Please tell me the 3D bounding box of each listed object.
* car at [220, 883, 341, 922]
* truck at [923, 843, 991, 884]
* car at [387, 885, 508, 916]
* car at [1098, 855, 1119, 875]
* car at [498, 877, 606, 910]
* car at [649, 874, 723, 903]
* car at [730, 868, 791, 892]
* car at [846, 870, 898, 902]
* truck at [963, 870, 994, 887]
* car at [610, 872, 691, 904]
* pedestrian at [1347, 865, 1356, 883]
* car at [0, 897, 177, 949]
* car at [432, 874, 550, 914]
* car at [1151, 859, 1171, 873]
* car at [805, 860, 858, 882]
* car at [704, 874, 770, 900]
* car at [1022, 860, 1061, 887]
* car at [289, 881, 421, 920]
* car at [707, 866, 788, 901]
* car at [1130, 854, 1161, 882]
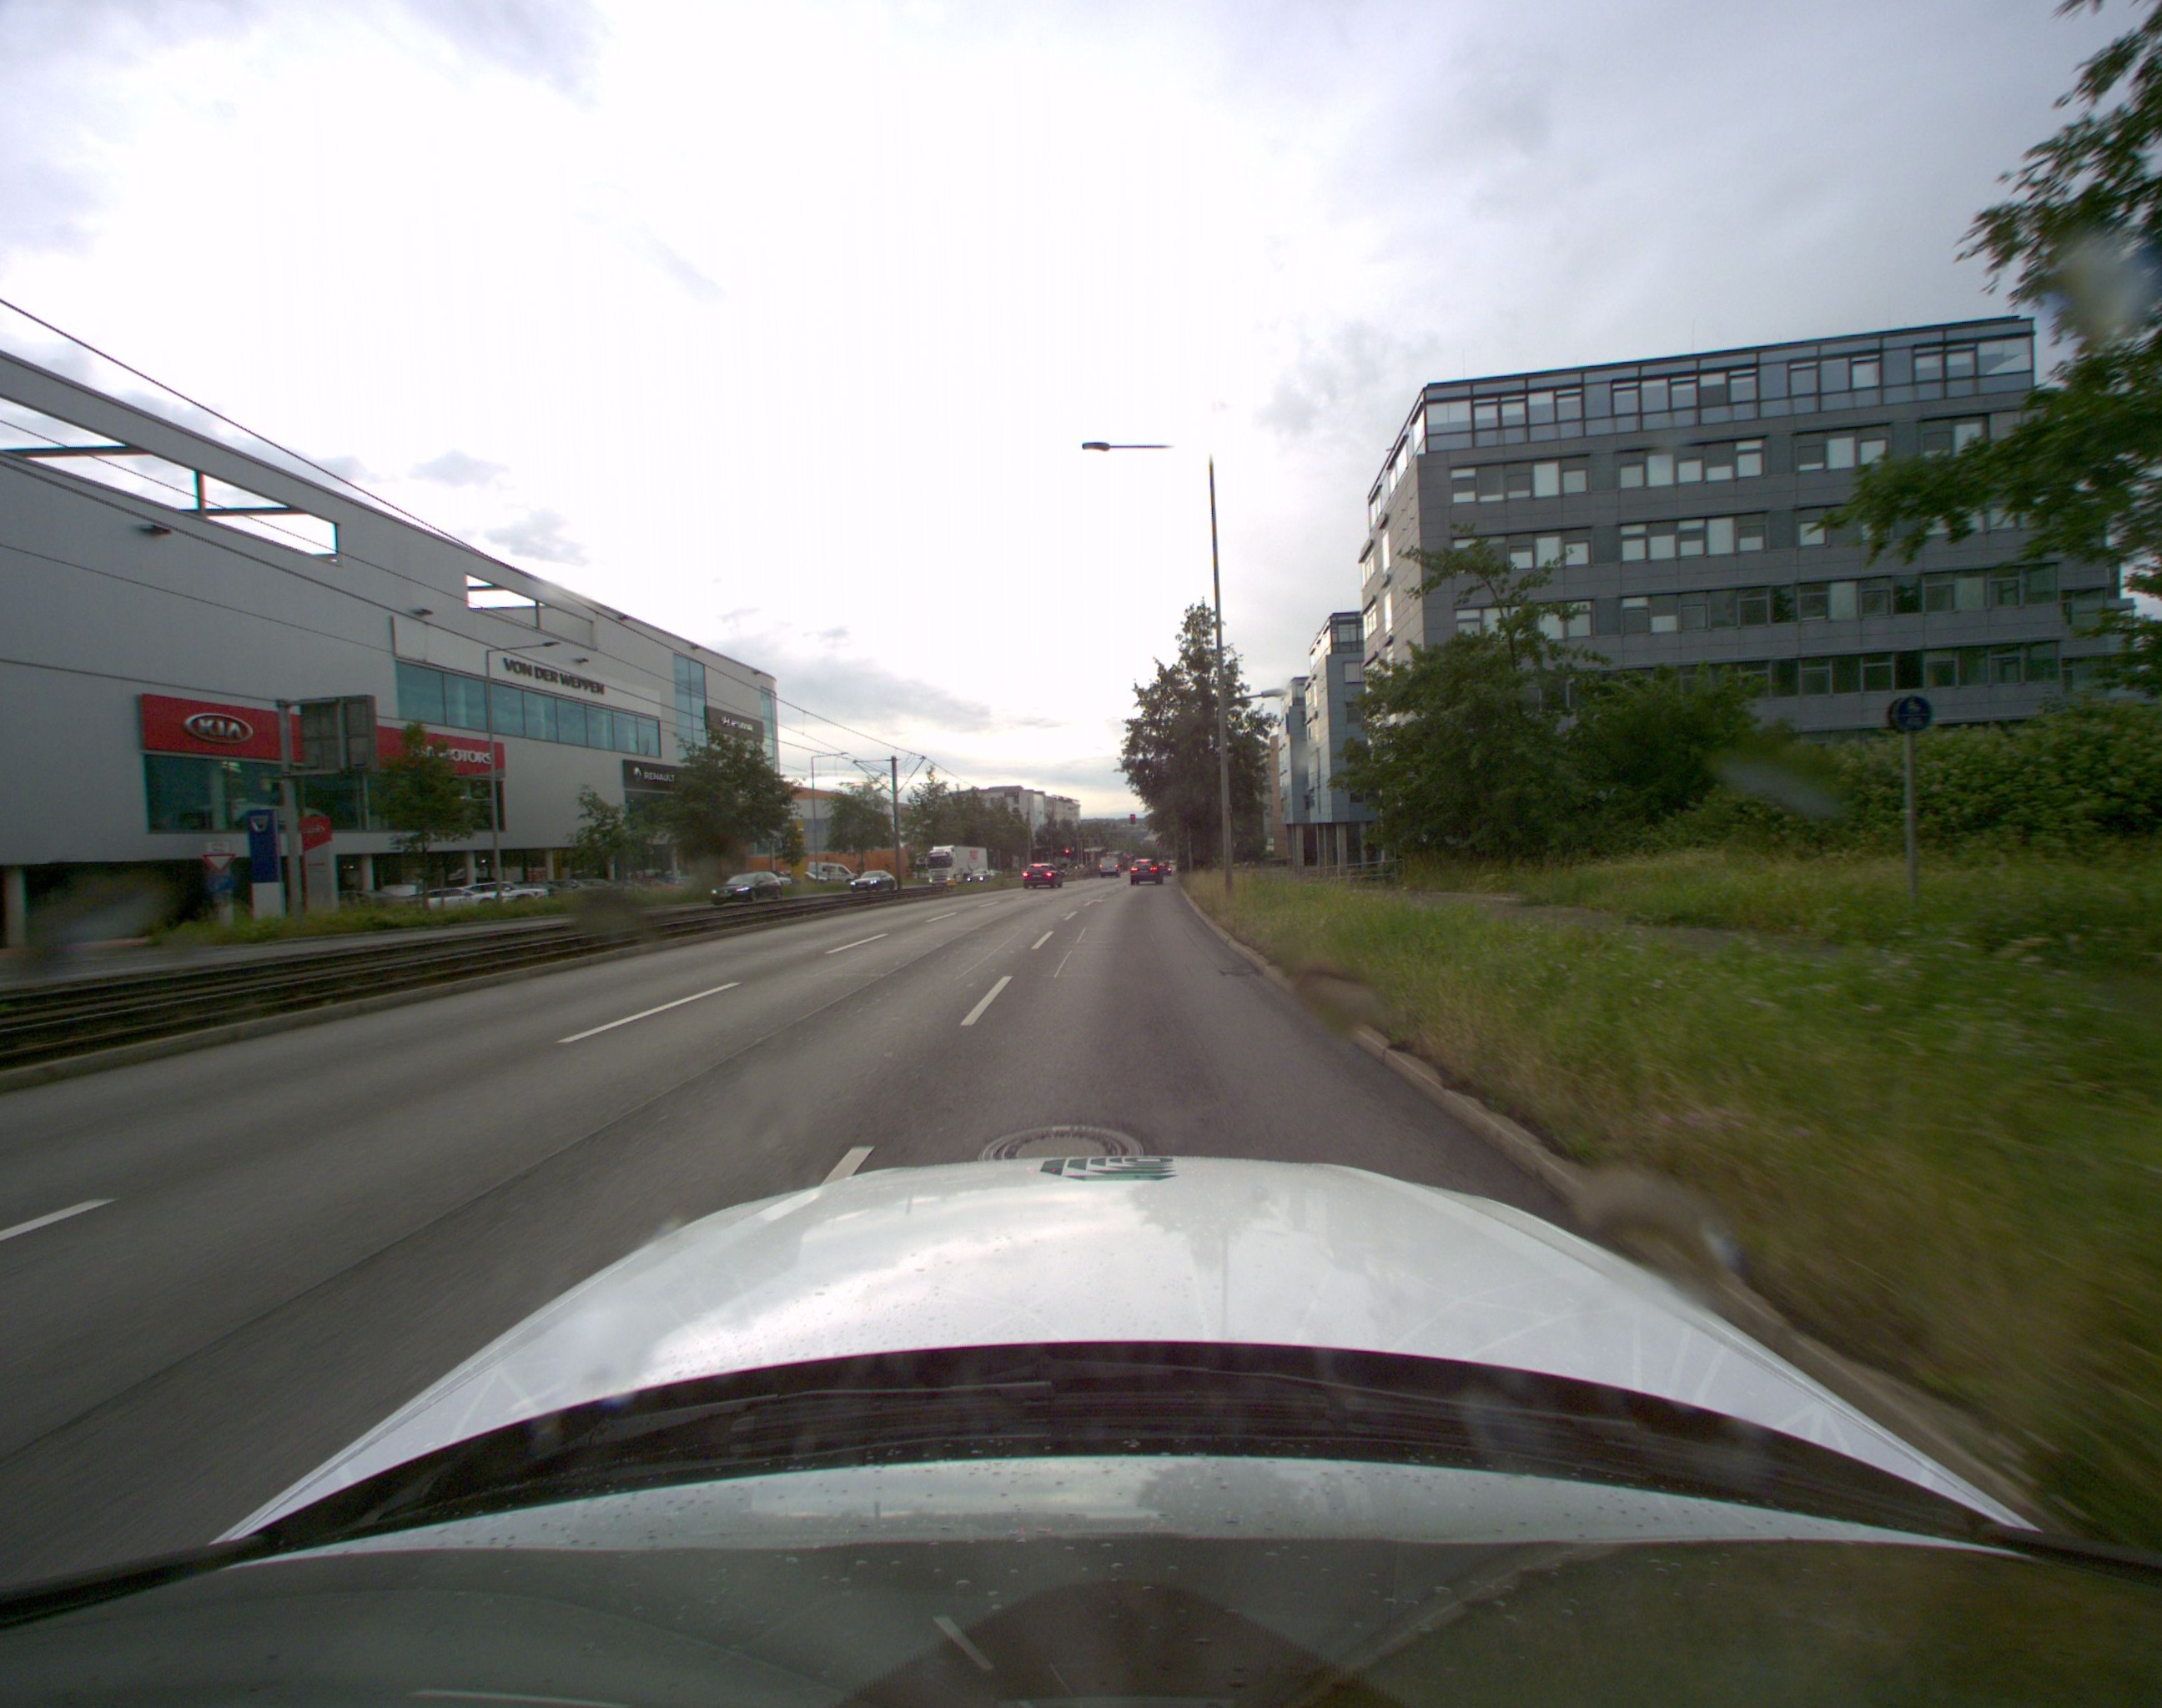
[{"bbox_3d":[-44.736,2.675,45.709,1.987,1.910,4.844,-1,0,0],"label":"car"},{"bbox_3d":[-13.468,0.933,90.758,3.026,4.180,17.232,-1,0,6],"label":"truck"},{"bbox_3d":[-31.481,2.278,40.625,4.337,1.307,1.859,-2,-1,-21],"label":"car"},{"bbox_3d":[3.186,1.259,95.069,2.260,2.285,4.761,-1,0,1],"label":"car"},{"bbox_3d":[-31.569,2.331,48.759,5.011,1.654,2.010,-2,-1,-15],"label":"car"},{"bbox_3d":[-30.016,2.604,61.953,4.598,1.976,2.015,-2,-1,-8],"label":"car"},{"bbox_3d":[-28.776,2.332,73.156,4.588,1.976,2.019,-2,-1,-1],"label":"car"},{"bbox_3d":[-13.912,2.116,54.521,2.005,1.976,4.620,-2,-1,3],"label":"car"},{"bbox_3d":[-10.716,2.540,85.761,1.930,1.568,4.555,-4,-2,9],"label":"truck"},{"bbox_3d":[-30.066,2.357,56.978,4.609,1.976,2.010,-2,-1,-15],"label":"car"},{"bbox_3d":[20.927,1.553,63.043,0.500,1.408,0.458,-1,-2,6],"label":"pedestrian"},{"bbox_3d":[-44.501,3.021,36.688,1.987,1.910,4.940,-1,0,0],"label":"car"},{"bbox_3d":[-31.241,2.081,43.271,4.630,1.827,2.010,-2,-1,-15],"label":"car"},{"bbox_3d":[9.815,1.503,100.312,1.785,1.591,3.997,-3,0,-2],"label":"car"},{"bbox_3d":[-27.985,1.913,91.483,5.301,2.313,2.014,-1,-1,-9],"label":"car"},{"bbox_3d":[-28.379,2.711,67.290,4.588,1.976,2.019,-2,-1,-1],"label":"car"},{"bbox_3d":[-2.274,1.096,47.984,1.779,1.413,4.809,-1,0,2],"label":"car"},{"bbox_3d":[-36.491,2.300,41.125,4.653,1.664,2.000,-2,-1,-31],"label":"car"},{"bbox_3d":[-15.068,1.296,37.061,1.660,1.462,4.243,-1,-1,4],"label":"car"},{"bbox_3d":[4.244,0.894,53.697,1.913,1.710,4.103,-1,1,5],"label":"car"}]
